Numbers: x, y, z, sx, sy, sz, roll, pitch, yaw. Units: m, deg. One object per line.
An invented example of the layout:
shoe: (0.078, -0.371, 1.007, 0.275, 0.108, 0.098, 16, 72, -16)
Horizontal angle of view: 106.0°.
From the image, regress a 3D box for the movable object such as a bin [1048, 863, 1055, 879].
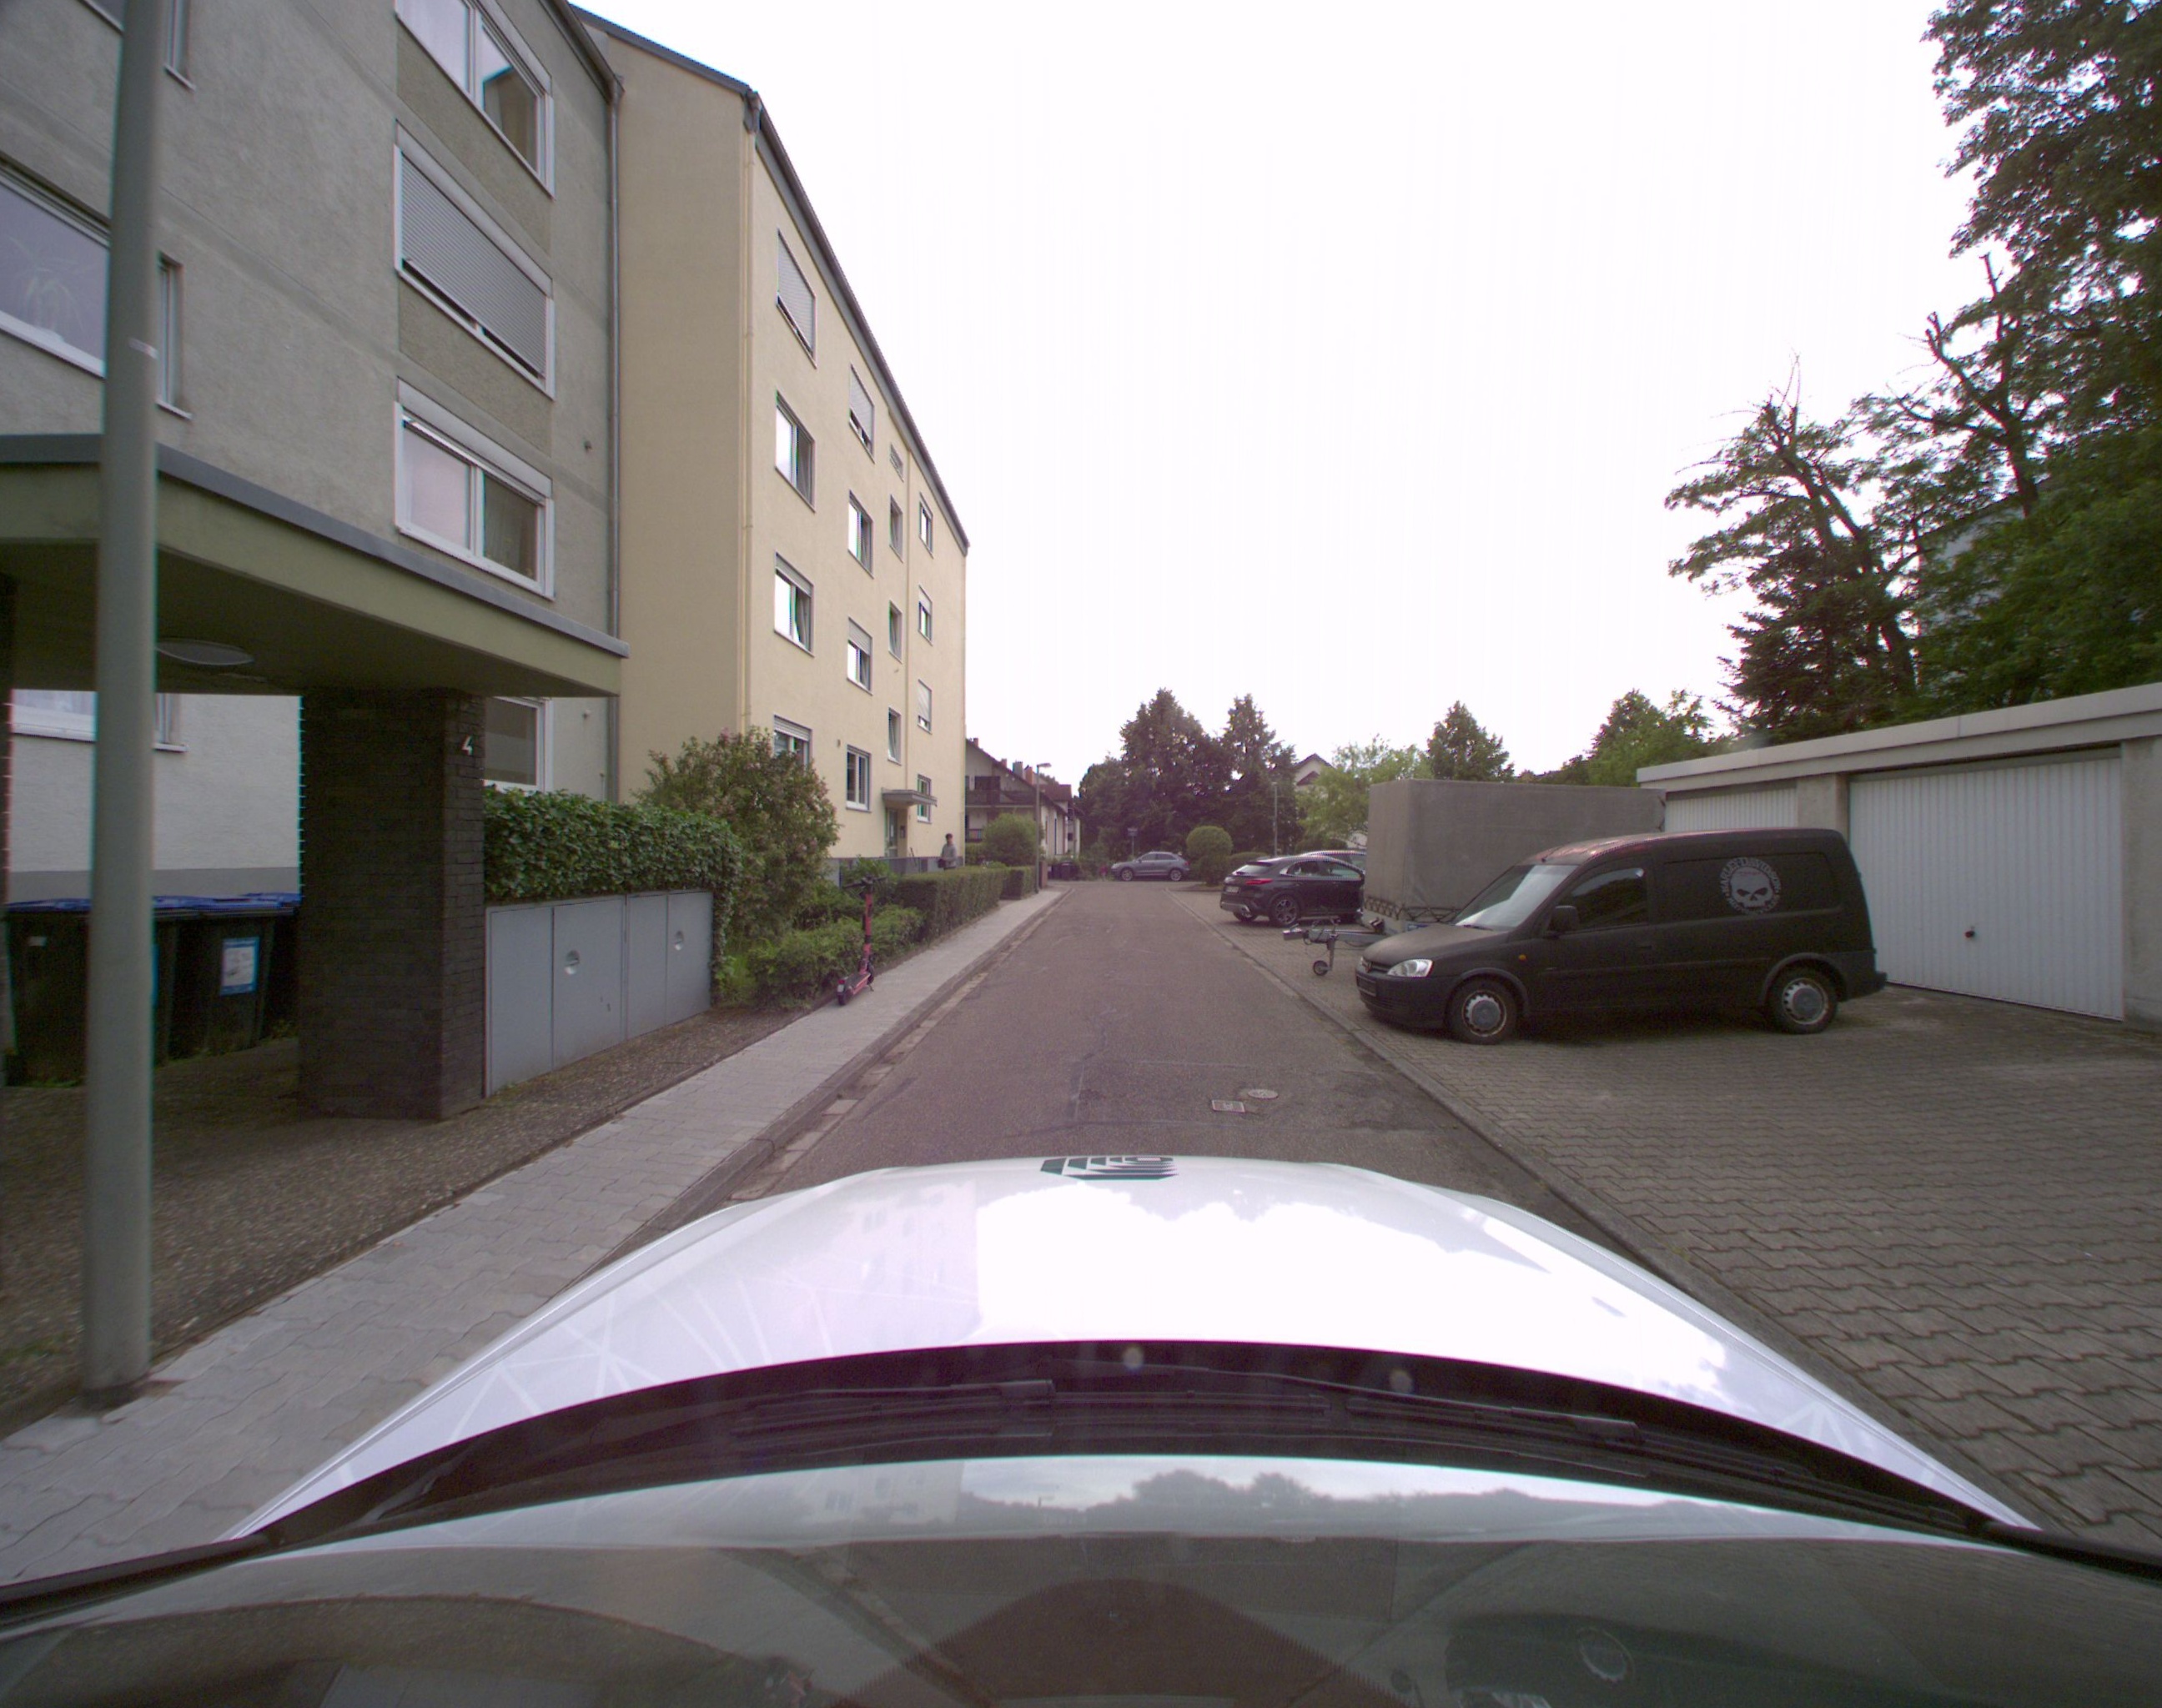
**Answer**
movable object such as a bin: (-1.747, 1.004, 47.730, 0.384, 0.901, 0.379, 1, 0, 0)

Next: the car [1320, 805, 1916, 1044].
car: (4.721, 0.583, 7.732, 4.295, 1.802, 2.001, -2, 0, 1)

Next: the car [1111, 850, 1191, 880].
car: (3.750, 0.612, 43.891, 4.221, 1.531, 1.748, 0, -2, 1)

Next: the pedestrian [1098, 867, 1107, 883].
pedestrian: (2.107, 2.017, 78.895, 0.812, 1.517, 0.438, 0, -1, -1)

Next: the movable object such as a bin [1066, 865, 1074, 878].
movable object such as a bin: (-0.624, 1.026, 48.103, 0.458, 0.797, 0.379, 1, 0, -1)

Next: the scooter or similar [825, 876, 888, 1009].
scooter or similar: (-2.257, 0.848, 8.266, 0.272, 1.211, 1.165, 0, 0, 1)

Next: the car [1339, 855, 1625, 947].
car: (6.713, 0.769, 13.950, 4.112, 1.449, 1.613, -1, 0, 1)

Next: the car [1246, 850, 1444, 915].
car: (6.662, 0.700, 20.980, 4.517, 1.588, 1.990, 0, 0, 3)

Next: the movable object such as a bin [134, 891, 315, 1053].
movable object such as a bin: (-5.928, 0.792, 5.666, 0.621, 1.034, 0.590, -1, 0, 2)

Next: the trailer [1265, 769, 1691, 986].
trailer: (4.872, 0.258, 10.547, 4.591, 2.525, 1.944, 0, 0, 2)

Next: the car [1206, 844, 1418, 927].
car: (4.989, 0.638, 17.856, 3.989, 1.552, 1.992, -2, 0, -11)

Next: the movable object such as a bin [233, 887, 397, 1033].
movable object such as a bin: (-5.907, 0.793, 6.314, 0.621, 1.034, 0.665, -1, 0, 2)

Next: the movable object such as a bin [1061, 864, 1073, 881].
movable object such as a bin: (-0.806, 1.024, 46.077, 0.636, 0.953, 0.723, 1, 0, 1)

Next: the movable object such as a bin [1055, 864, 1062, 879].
movable object such as a bin: (-1.328, 1.010, 47.750, 0.384, 0.890, 0.379, 1, 0, 0)

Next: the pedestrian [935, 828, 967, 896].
pedestrian: (-3.424, 0.214, 21.511, 0.676, 1.749, 0.756, 1, 0, 0)

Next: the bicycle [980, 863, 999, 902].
bicycle: (-2.673, 0.813, 23.778, 0.317, 1.075, 1.419, 1, 0, 3)
